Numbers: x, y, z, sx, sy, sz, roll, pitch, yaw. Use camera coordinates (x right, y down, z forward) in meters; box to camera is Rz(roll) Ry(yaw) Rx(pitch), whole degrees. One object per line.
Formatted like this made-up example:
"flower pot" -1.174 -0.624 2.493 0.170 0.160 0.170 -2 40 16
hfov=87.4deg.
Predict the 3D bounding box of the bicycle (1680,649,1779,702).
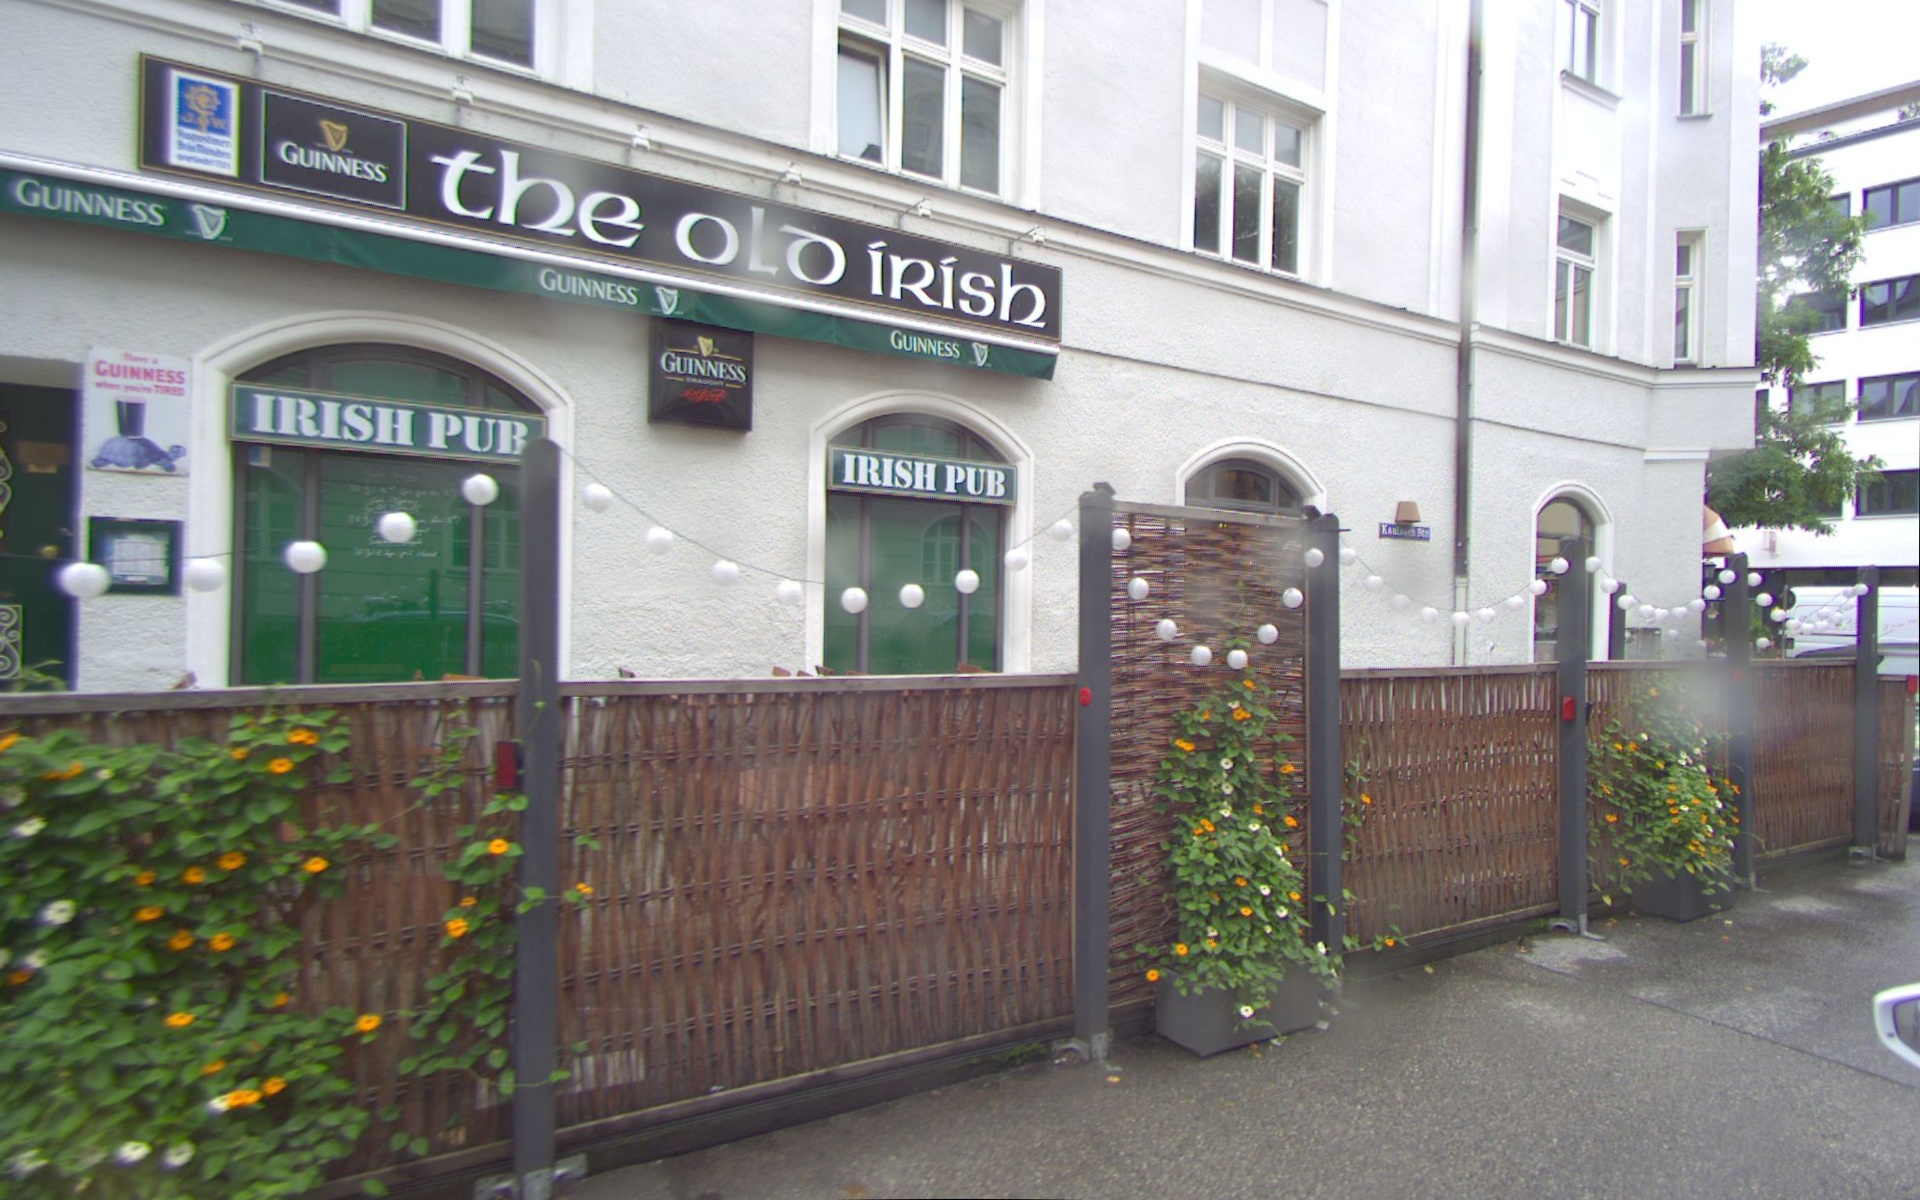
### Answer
"bicycle" 16.038 1.561 20.983 1.537 0.959 0.897 2 -1 33

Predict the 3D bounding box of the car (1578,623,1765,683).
"car" 19.944 1.453 28.252 1.788 1.447 4.013 5 -3 -43

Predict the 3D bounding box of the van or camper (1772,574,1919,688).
"van or camper" 23.671 0.786 24.412 1.858 2.712 5.855 4 -2 -40

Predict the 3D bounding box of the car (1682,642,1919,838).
"car" 8.379 1.095 8.902 3.951 1.408 1.700 2 -2 -29
